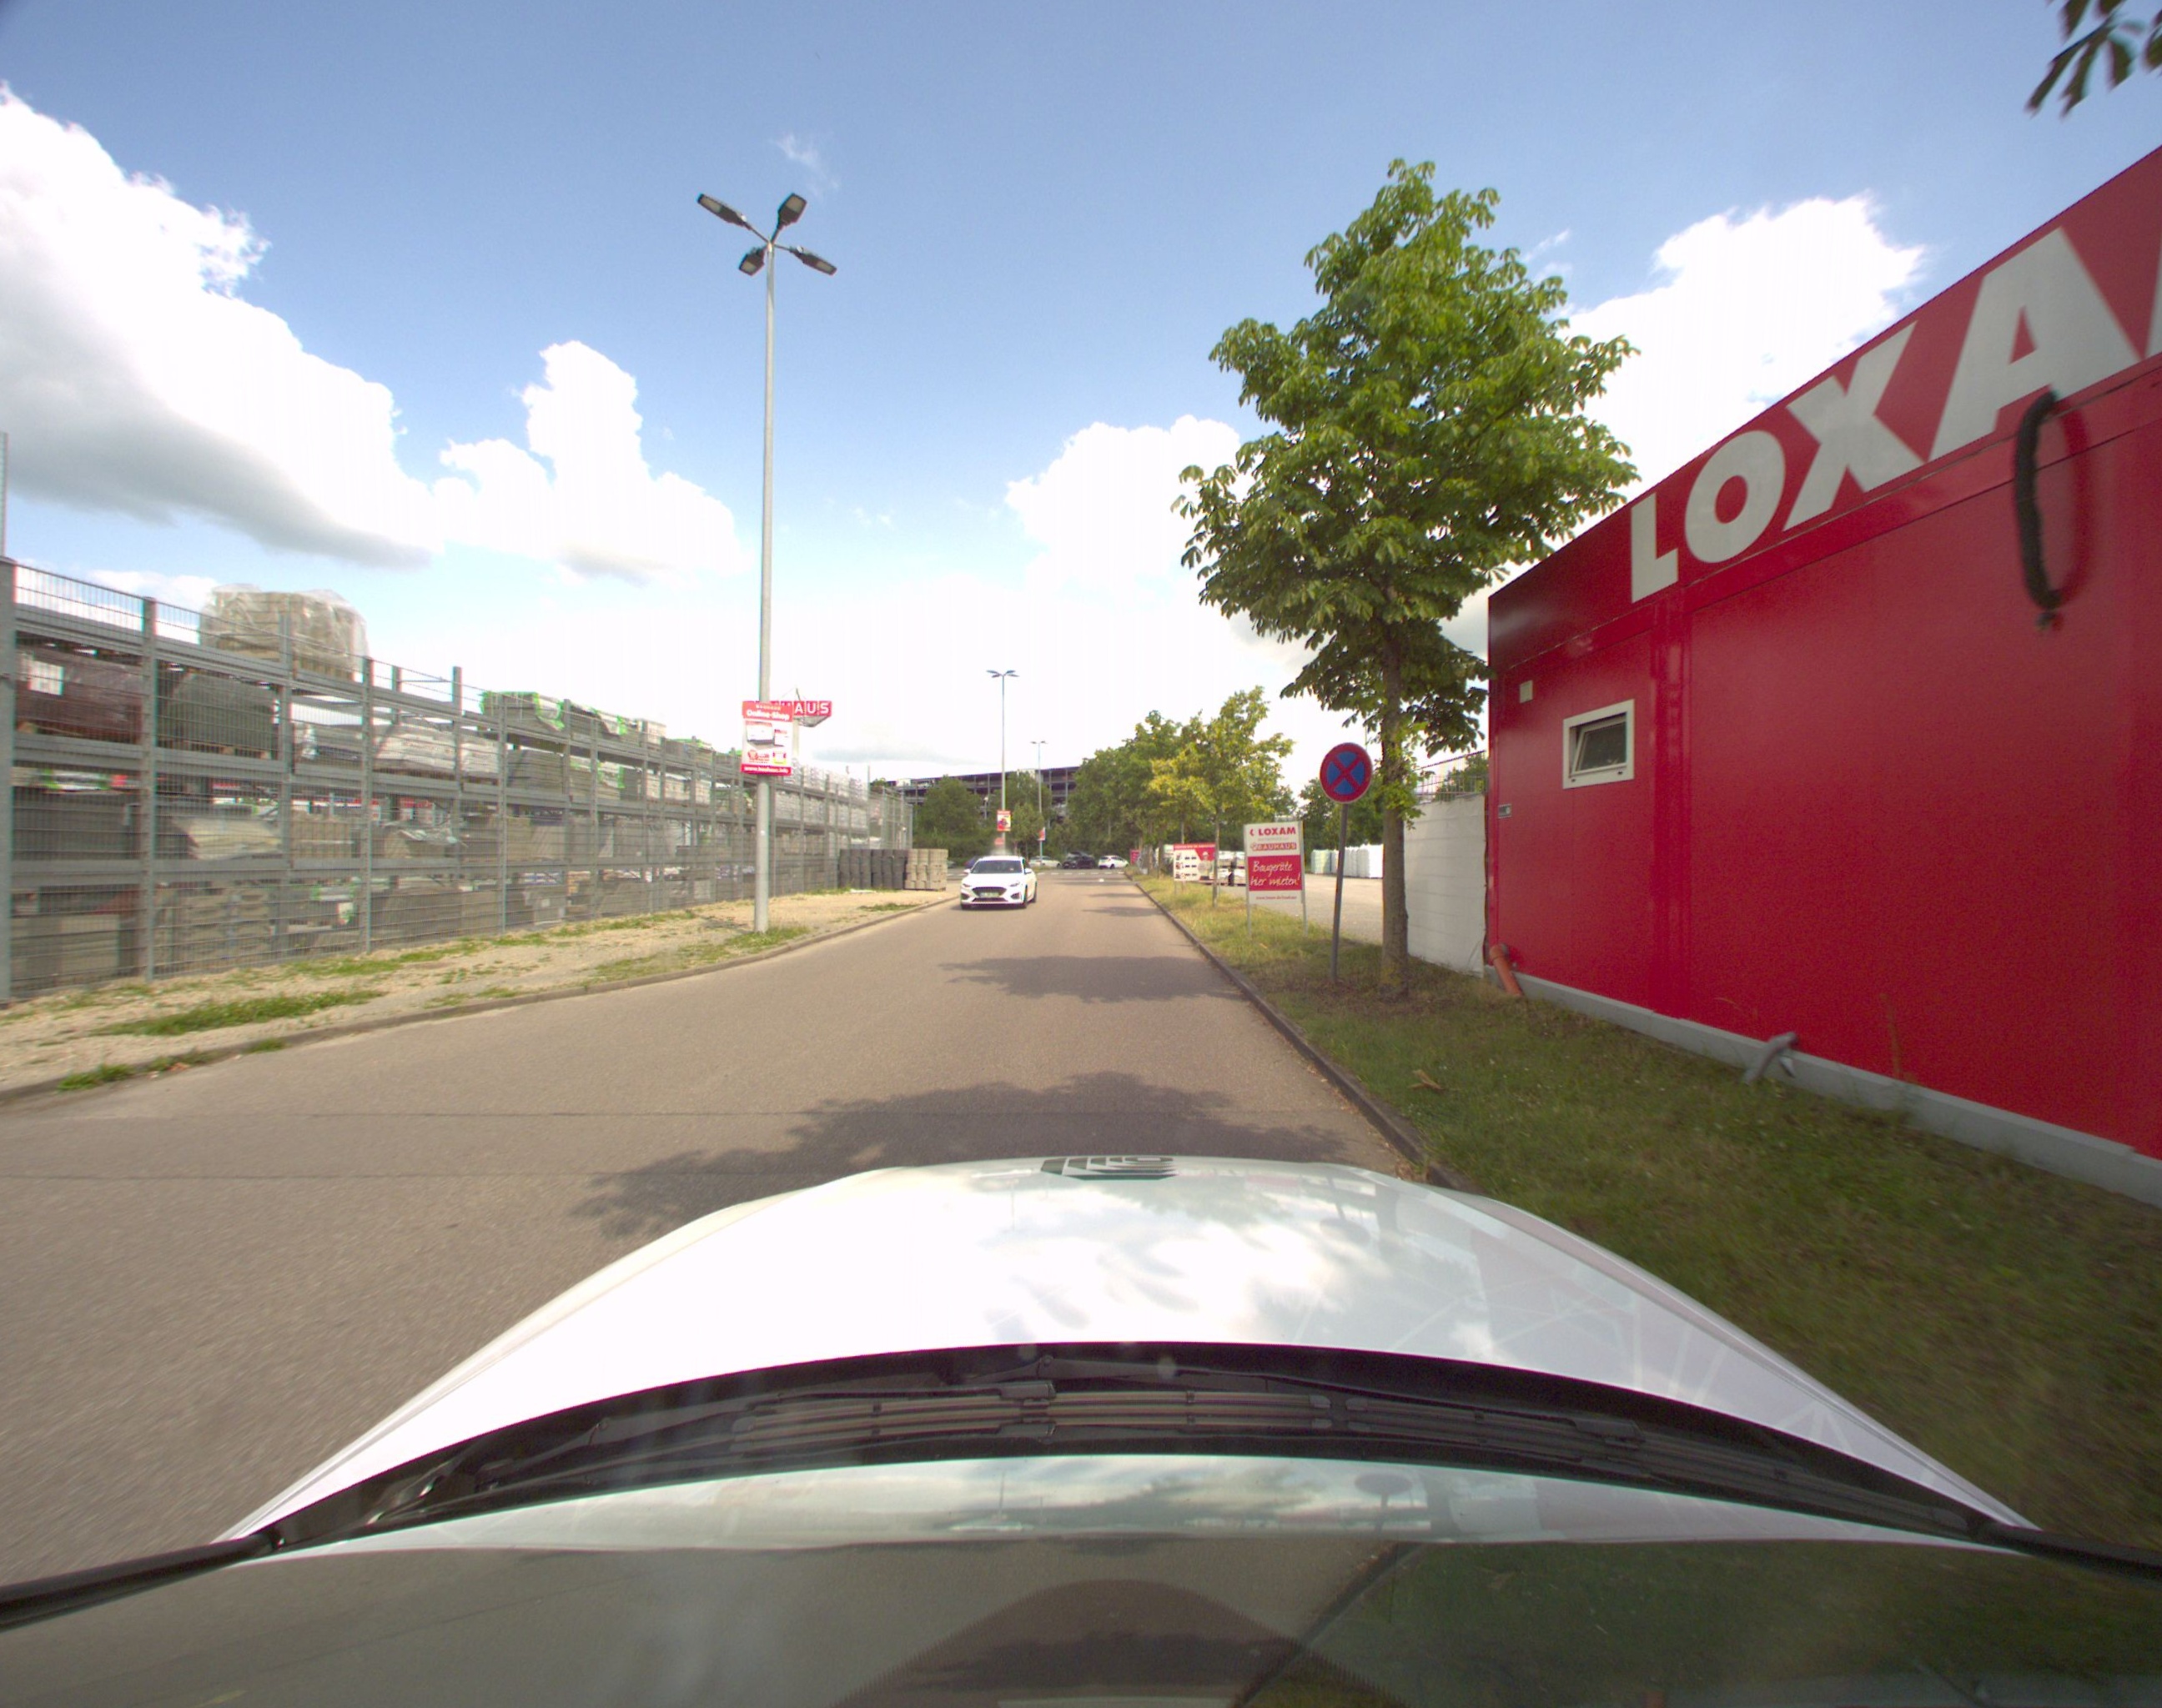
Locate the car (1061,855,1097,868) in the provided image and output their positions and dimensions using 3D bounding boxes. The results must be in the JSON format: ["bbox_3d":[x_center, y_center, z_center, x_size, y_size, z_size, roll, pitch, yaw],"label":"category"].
[{"bbox_3d":[-0.209,0.809,89.145,1.711,1.410,4.270,0,0,36],"label":"car"}]

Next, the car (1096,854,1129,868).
[{"bbox_3d":[3.316,0.698,85.900,1.649,1.411,3.579,0,0,40],"label":"car"}]

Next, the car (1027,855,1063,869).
[{"bbox_3d":[-4.030,0.877,91.591,1.668,1.510,4.107,-4,-3,39],"label":"car"}]

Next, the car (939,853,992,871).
[{"bbox_3d":[-8.798,0.617,62.131,3.737,1.368,1.621,0,0,1],"label":"car"}]

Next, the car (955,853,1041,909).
[{"bbox_3d":[-2.309,0.716,23.725,1.796,1.464,4.333,0,0,3],"label":"car"}]

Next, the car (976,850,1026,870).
[{"bbox_3d":[-6.693,0.508,68.100,3.933,1.624,1.737,0,0,3],"label":"car"}]
